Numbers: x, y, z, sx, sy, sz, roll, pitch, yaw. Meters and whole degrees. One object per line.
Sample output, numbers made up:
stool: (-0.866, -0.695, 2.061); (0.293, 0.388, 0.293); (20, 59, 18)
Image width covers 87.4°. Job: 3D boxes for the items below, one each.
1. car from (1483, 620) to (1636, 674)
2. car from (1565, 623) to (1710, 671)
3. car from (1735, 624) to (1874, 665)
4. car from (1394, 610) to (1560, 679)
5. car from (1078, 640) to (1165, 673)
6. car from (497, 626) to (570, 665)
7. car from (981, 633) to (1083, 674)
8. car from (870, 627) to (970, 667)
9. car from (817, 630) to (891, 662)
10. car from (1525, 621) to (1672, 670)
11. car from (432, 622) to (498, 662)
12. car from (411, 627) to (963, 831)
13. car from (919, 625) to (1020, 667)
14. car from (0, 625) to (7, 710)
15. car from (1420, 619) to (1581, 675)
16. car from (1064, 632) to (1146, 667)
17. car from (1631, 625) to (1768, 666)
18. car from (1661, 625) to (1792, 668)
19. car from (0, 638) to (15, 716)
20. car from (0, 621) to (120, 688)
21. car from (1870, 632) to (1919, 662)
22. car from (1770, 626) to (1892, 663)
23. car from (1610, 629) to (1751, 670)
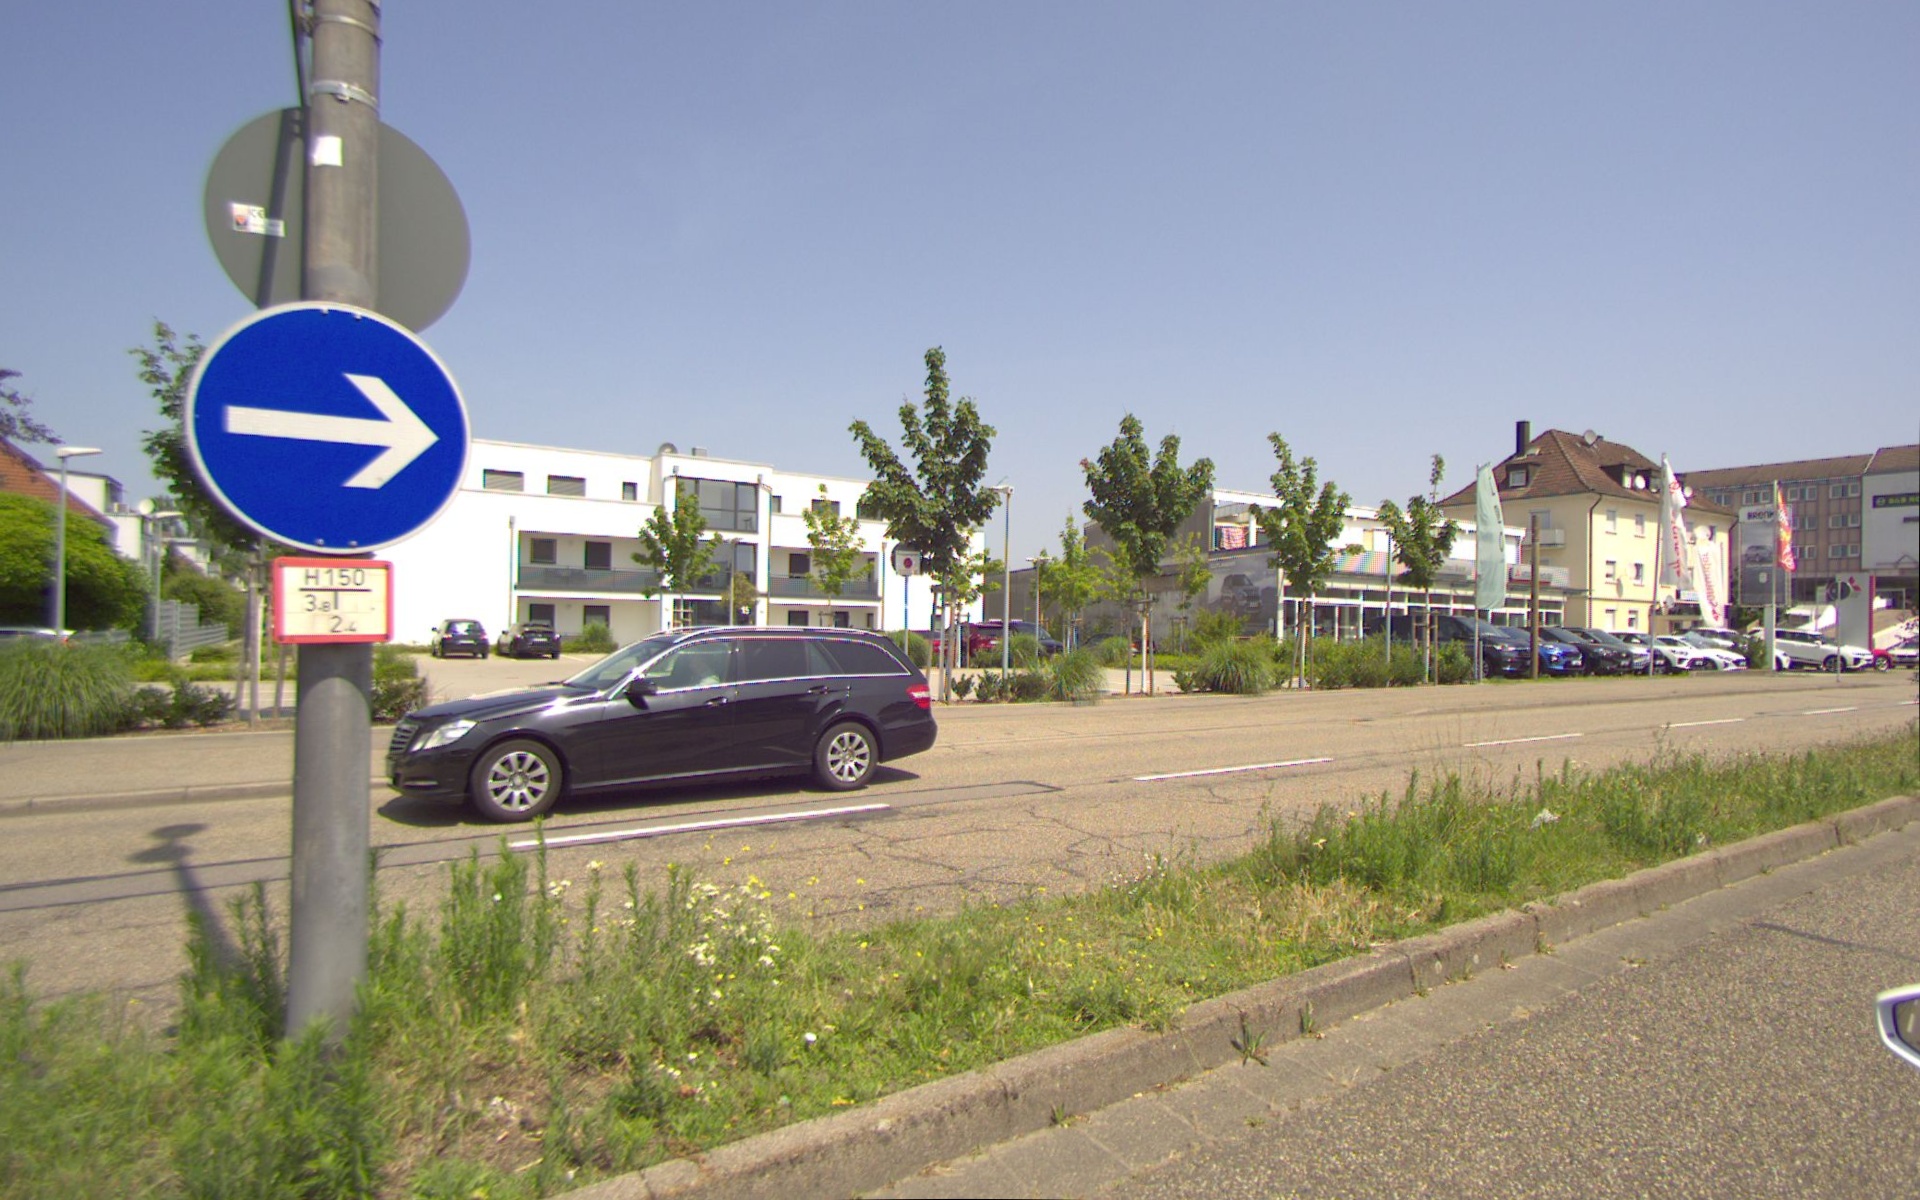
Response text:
car: (19.486, 1.485, 32.783); (1.741, 1.629, 3.963); (1, -2, -34)
car: (24.552, 1.662, 36.508); (1.905, 1.629, 3.963); (1, -2, -34)
car: (38.050, 1.980, 45.352); (1.741, 1.732, 4.519); (1, -2, -34)
car: (15.336, 1.275, 29.980); (1.979, 1.906, 3.963); (1, -2, -34)
car: (6.739, 2.343, 42.183); (1.631, 1.261, 3.694); (1, -2, -31)
car: (-17.265, 1.809, 40.548); (1.861, 1.472, 3.959); (1, -2, -36)
car: (2.760, 2.060, 39.283); (1.861, 1.472, 3.959); (1, -2, -36)
car: (-1.525, 1.692, 36.885); (1.829, 1.332, 3.960); (1, -1, -35)
car: (-5.217, 2.200, 48.997); (1.861, 1.472, 3.959); (1, -2, -36)
car: (22.030, 1.516, 34.803); (1.741, 1.589, 3.963); (1, -2, -34)
car: (-19.341, 1.595, 39.146); (1.859, 1.472, 3.964); (1, -2, -33)
car: (-2.389, 1.002, 9.383); (4.664, 1.480, 1.816); (1, -2, -34)
car: (0.306, 1.721, 38.456); (1.861, 1.472, 3.959); (1, -2, -36)
car: (-18.634, 1.188, 16.856); (3.515, 1.539, 1.546); (1, -1, -31)
car: (16.799, 1.425, 31.393); (2.067, 1.629, 3.963); (1, -2, -34)
car: (5.685, 1.928, 39.776); (1.701, 1.240, 3.522); (1, -1, -22)
car: (28.770, 1.750, 39.174); (1.741, 1.486, 3.963); (1, -2, -34)
car: (31.061, 1.868, 40.847); (3.923, 1.645, 1.759); (0, -1, 23)
car: (-17.108, 1.227, 15.404); (3.515, 1.248, 1.546); (1, -1, -31)
car: (-20.839, 1.148, 21.726); (3.788, 1.402, 1.911); (1, -2, -30)
car: (48.696, 2.387, 51.478); (4.703, 1.429, 1.767); (1, -1, -30)
car: (41.458, 2.108, 47.894); (4.094, 1.664, 1.841); (0, -1, 6)
car: (27.048, 1.819, 37.823); (1.841, 1.413, 3.963); (1, -2, -34)
